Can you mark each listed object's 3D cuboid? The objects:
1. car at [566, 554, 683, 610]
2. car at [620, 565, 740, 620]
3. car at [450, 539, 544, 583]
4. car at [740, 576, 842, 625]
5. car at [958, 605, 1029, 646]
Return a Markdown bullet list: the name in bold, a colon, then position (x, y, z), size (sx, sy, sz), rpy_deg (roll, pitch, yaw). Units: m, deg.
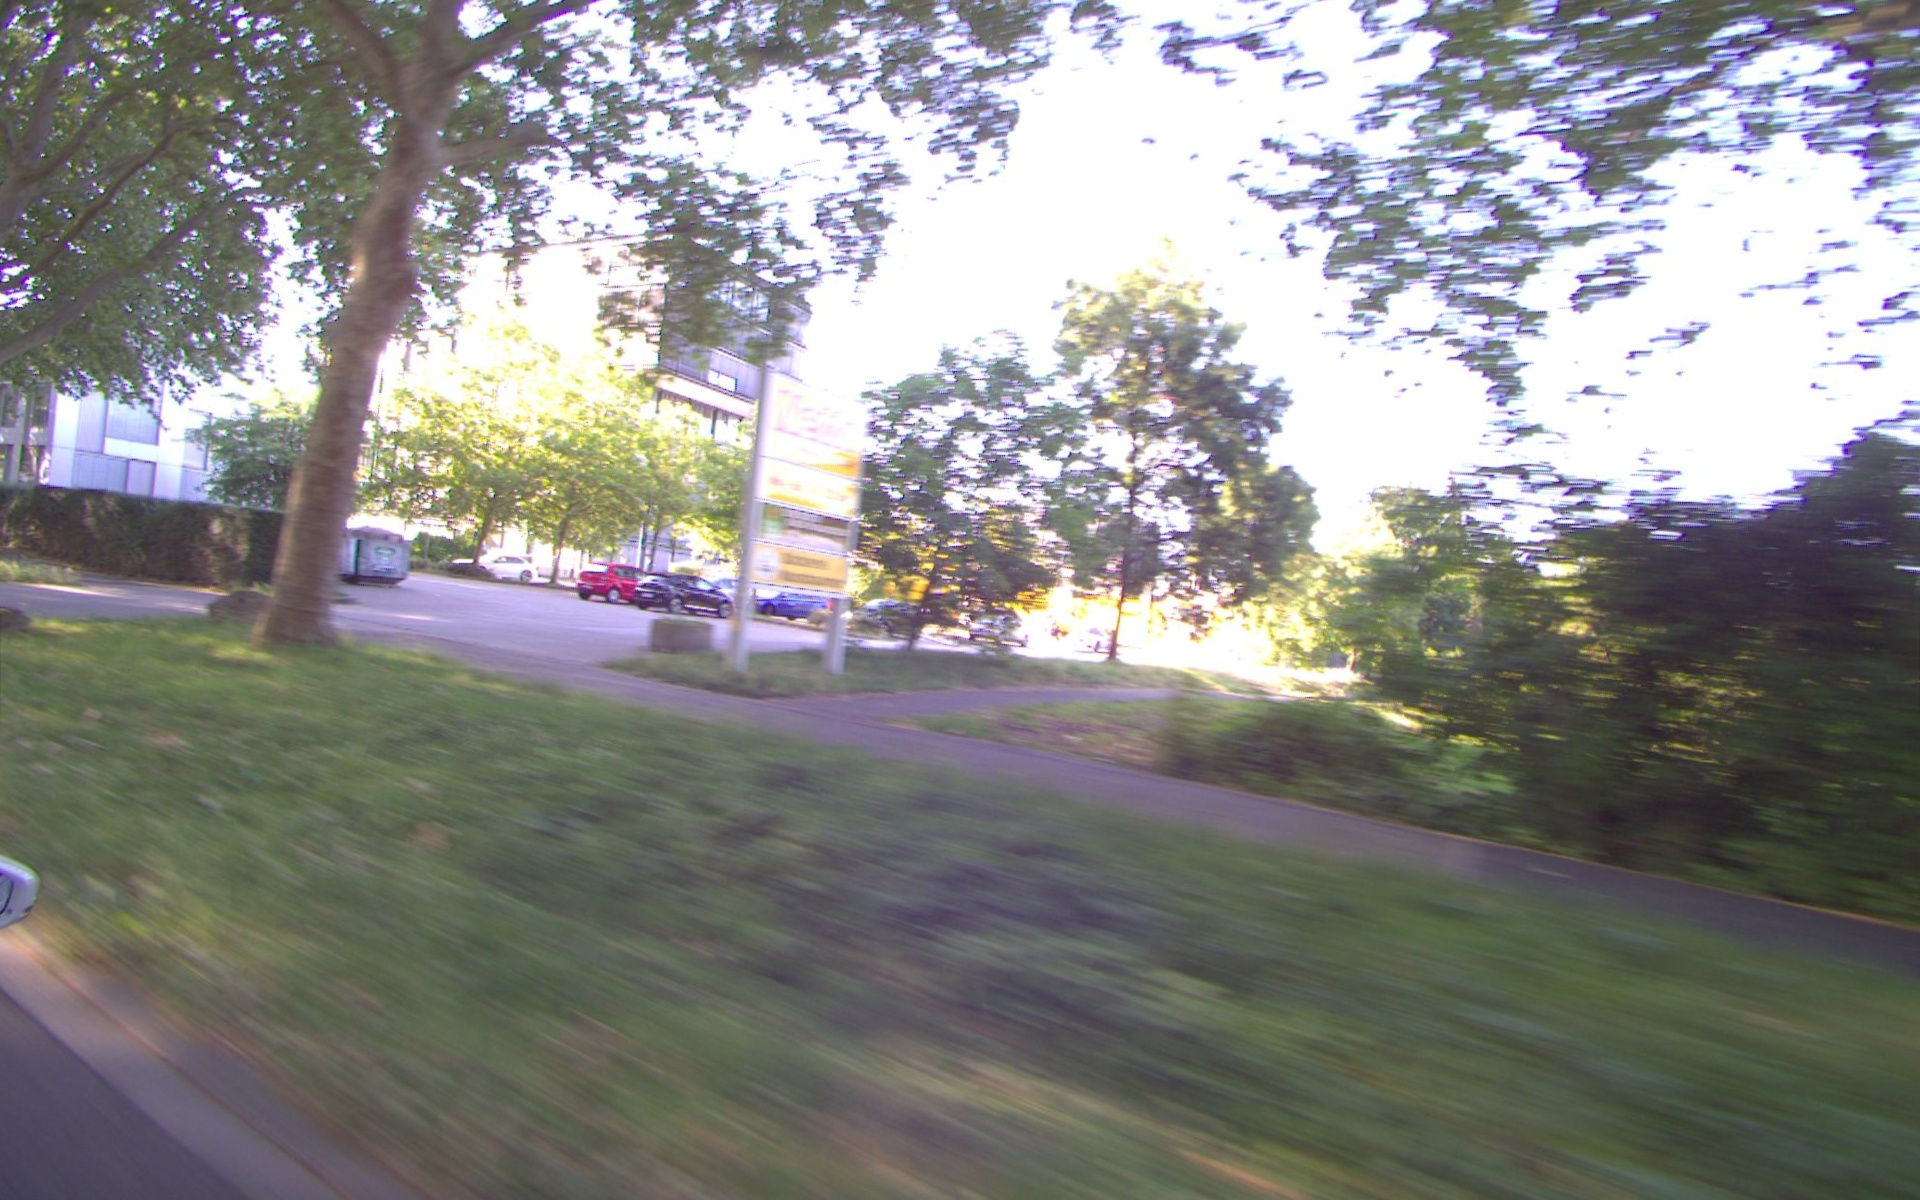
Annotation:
- **car**: position (-12.819, -0.645, 38.666), size (1.831, 1.585, 3.998), rpy_deg (7, -1, 27)
- **car**: position (-10.057, -0.244, 36.425), size (1.831, 1.458, 3.998), rpy_deg (7, -1, 27)
- **car**: position (-24.731, -2.068, 53.838), size (1.968, 1.793, 3.989), rpy_deg (7, 0, 34)
- **car**: position (-7.213, 0.052, 43.270), size (1.836, 1.585, 3.985), rpy_deg (7, -1, 39)
- **car**: position (1.670, 1.273, 49.268), size (1.831, 1.585, 3.998), rpy_deg (7, -1, 27)
